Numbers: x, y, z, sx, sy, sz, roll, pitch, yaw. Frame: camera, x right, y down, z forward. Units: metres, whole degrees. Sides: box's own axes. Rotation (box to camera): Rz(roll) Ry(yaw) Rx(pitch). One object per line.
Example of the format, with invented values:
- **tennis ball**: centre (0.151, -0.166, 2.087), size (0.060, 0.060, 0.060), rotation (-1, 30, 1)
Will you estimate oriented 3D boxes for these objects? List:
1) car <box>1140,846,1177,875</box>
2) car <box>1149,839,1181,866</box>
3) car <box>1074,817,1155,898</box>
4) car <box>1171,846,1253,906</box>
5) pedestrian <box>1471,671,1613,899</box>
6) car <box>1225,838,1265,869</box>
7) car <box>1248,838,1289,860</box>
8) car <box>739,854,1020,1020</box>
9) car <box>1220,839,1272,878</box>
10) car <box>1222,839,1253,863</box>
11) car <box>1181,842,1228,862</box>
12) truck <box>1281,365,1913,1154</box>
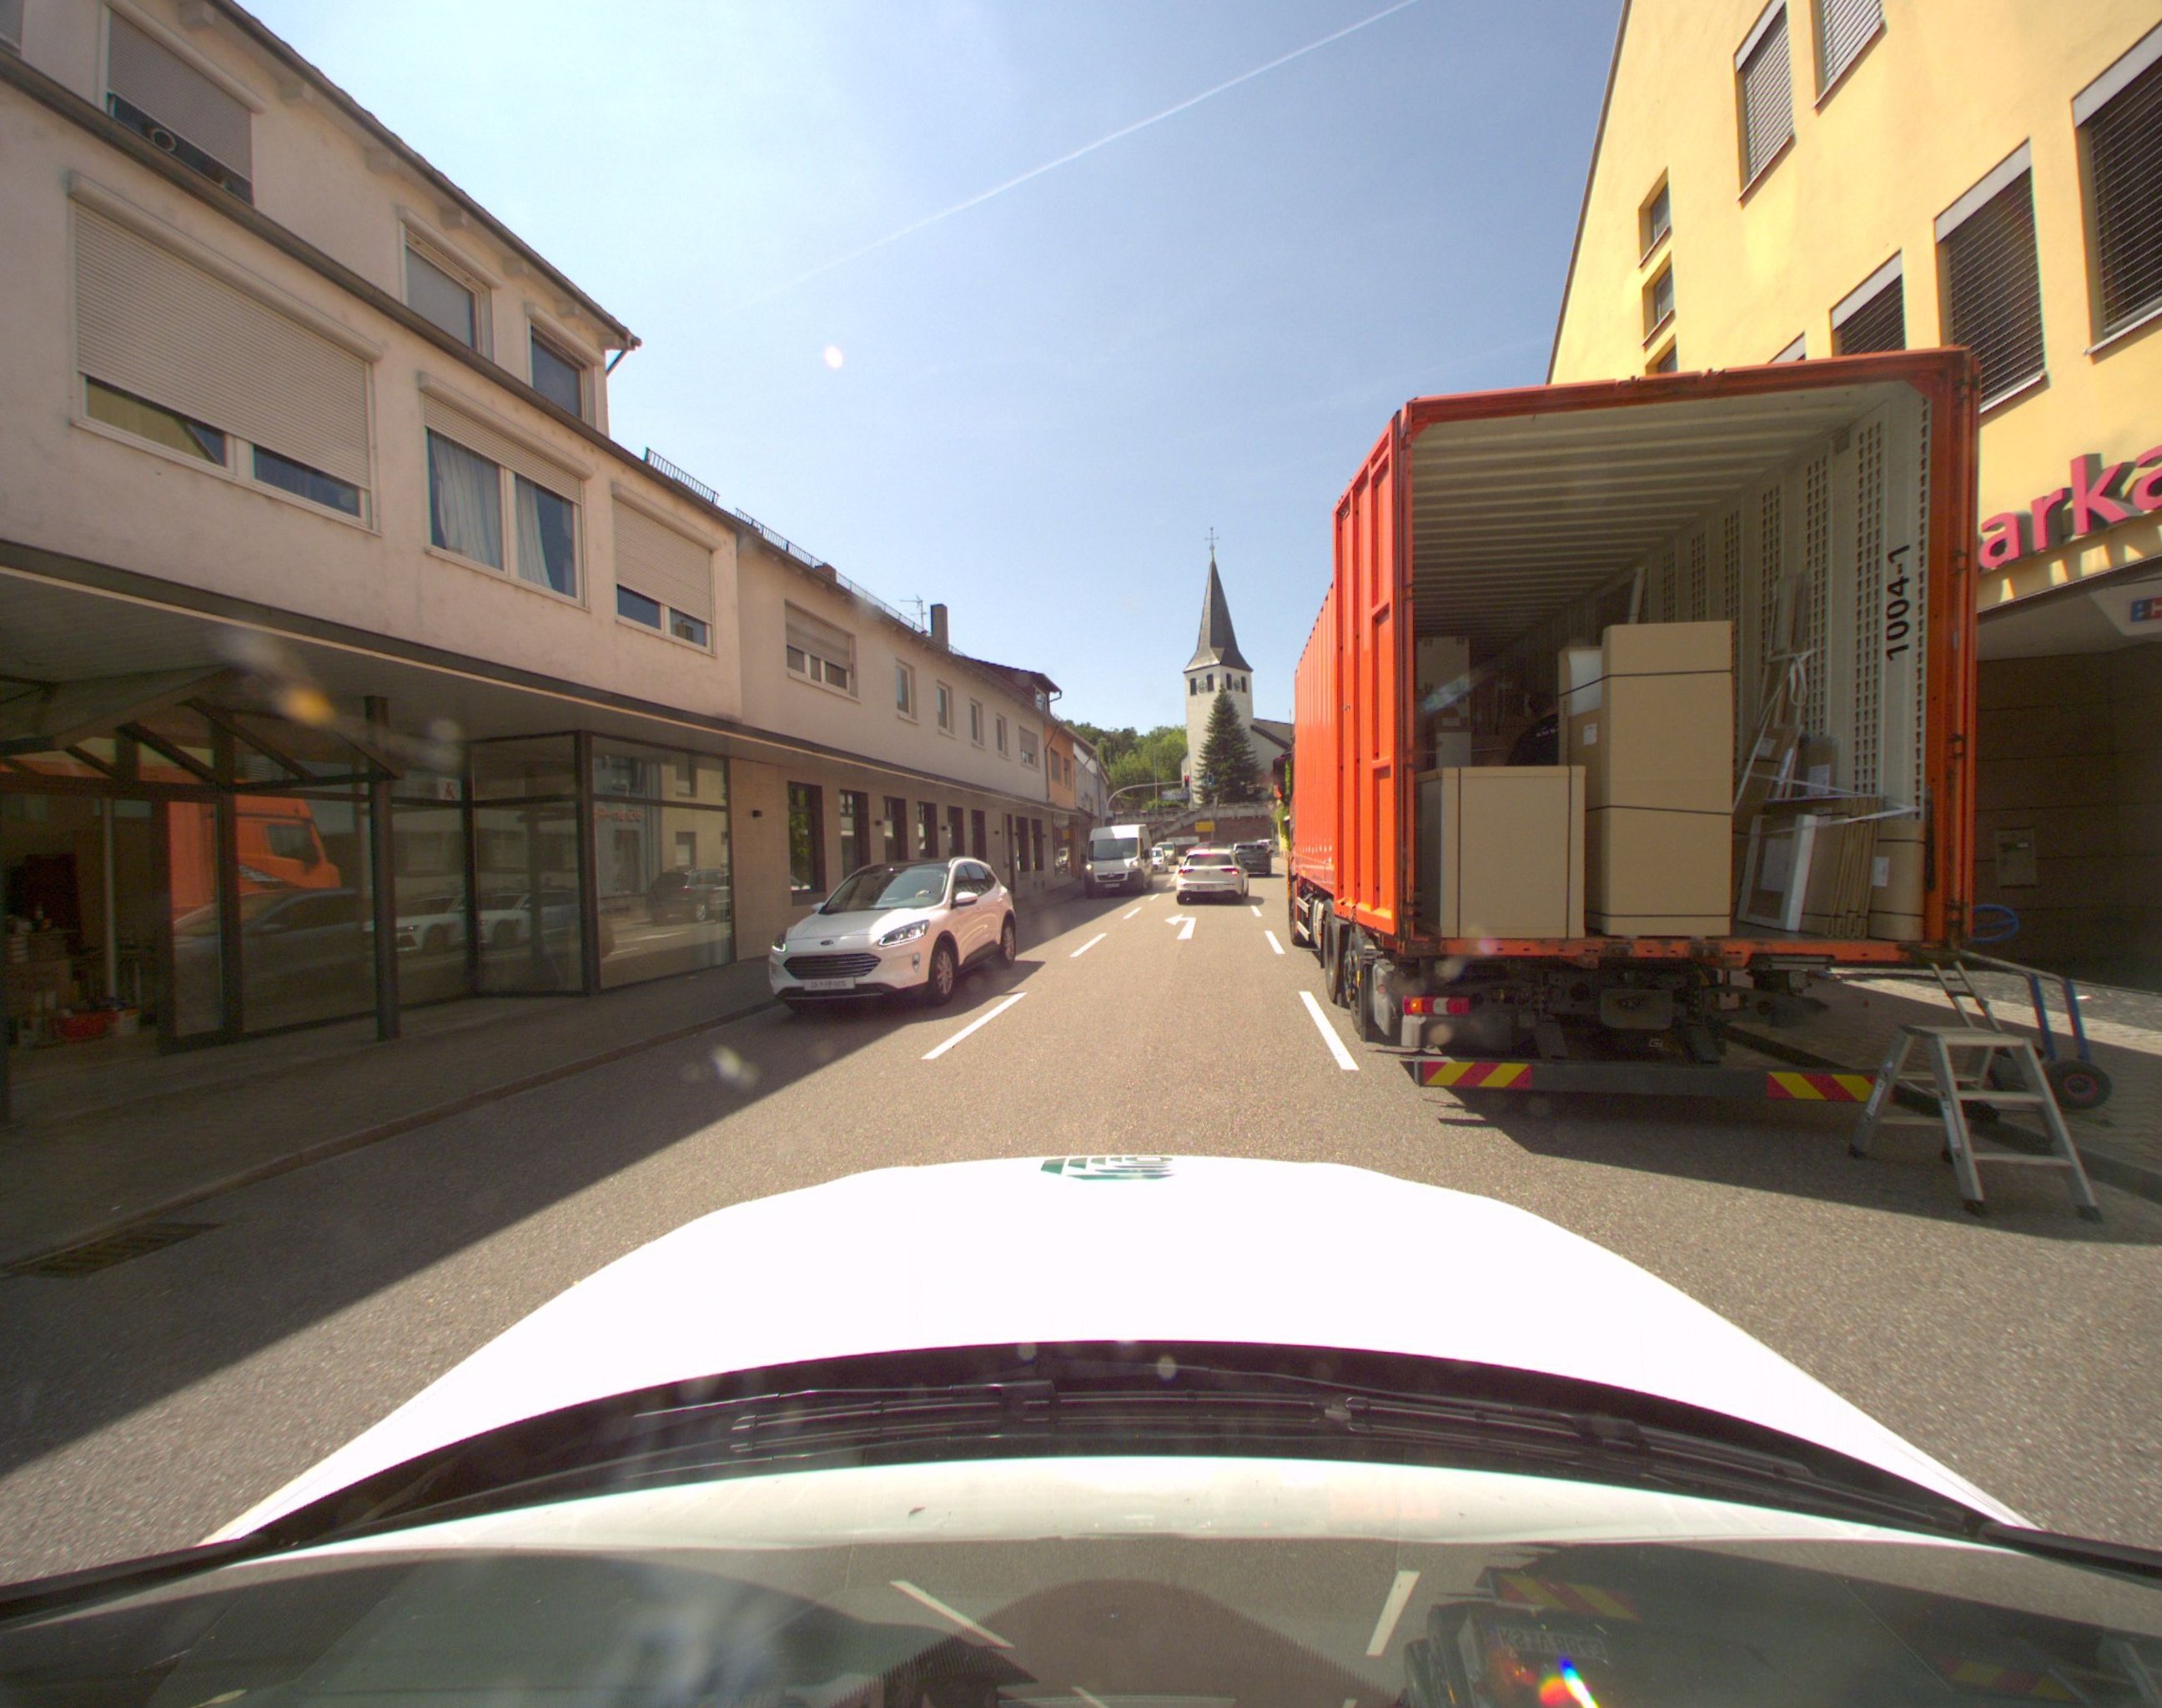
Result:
- **car**: centre (4.348, 0.322, 45.420), size (1.586, 1.455, 3.458), rotation (-5, 0, 11)
- **car**: centre (5.997, -0.133, 57.838), size (1.667, 1.617, 3.836), rotation (-5, 1, 14)
- **car**: centre (1.358, 0.092, 29.806), size (2.127, 2.568, 5.408), rotation (-4, 0, 10)
- **car**: centre (3.720, 0.557, 22.639), size (1.769, 1.458, 3.879), rotation (-2, 0, 16)
- **pedestrian**: centre (3.788, -0.525, 6.779), size (0.745, 1.757, 0.930), rotation (0, -1, 9)
- **car**: centre (9.739, -0.062, 48.753), size (1.939, 1.582, 4.335), rotation (-2, 2, 6)
- **car**: centre (15.978, -0.449, 69.306), size (1.930, 1.582, 4.354), rotation (-1, 2, 33)
- **car**: centre (-2.201, 0.858, 10.255), size (1.807, 1.555, 4.209), rotation (-5, -1, 9)
- **car**: centre (7.641, 0.170, 38.085), size (1.939, 1.582, 4.335), rotation (-2, 2, 6)
- **car**: centre (11.640, -0.257, 60.856), size (1.939, 1.582, 4.335), rotation (-2, 2, 6)
- **car**: centre (11.184, -0.158, 73.488), size (4.308, 1.408, 1.702), rotation (-6, 1, -41)
- **truck**: centre (3.846, -0.580, 9.230), size (2.591, 3.945, 10.024), rotation (0, 1, 11)
